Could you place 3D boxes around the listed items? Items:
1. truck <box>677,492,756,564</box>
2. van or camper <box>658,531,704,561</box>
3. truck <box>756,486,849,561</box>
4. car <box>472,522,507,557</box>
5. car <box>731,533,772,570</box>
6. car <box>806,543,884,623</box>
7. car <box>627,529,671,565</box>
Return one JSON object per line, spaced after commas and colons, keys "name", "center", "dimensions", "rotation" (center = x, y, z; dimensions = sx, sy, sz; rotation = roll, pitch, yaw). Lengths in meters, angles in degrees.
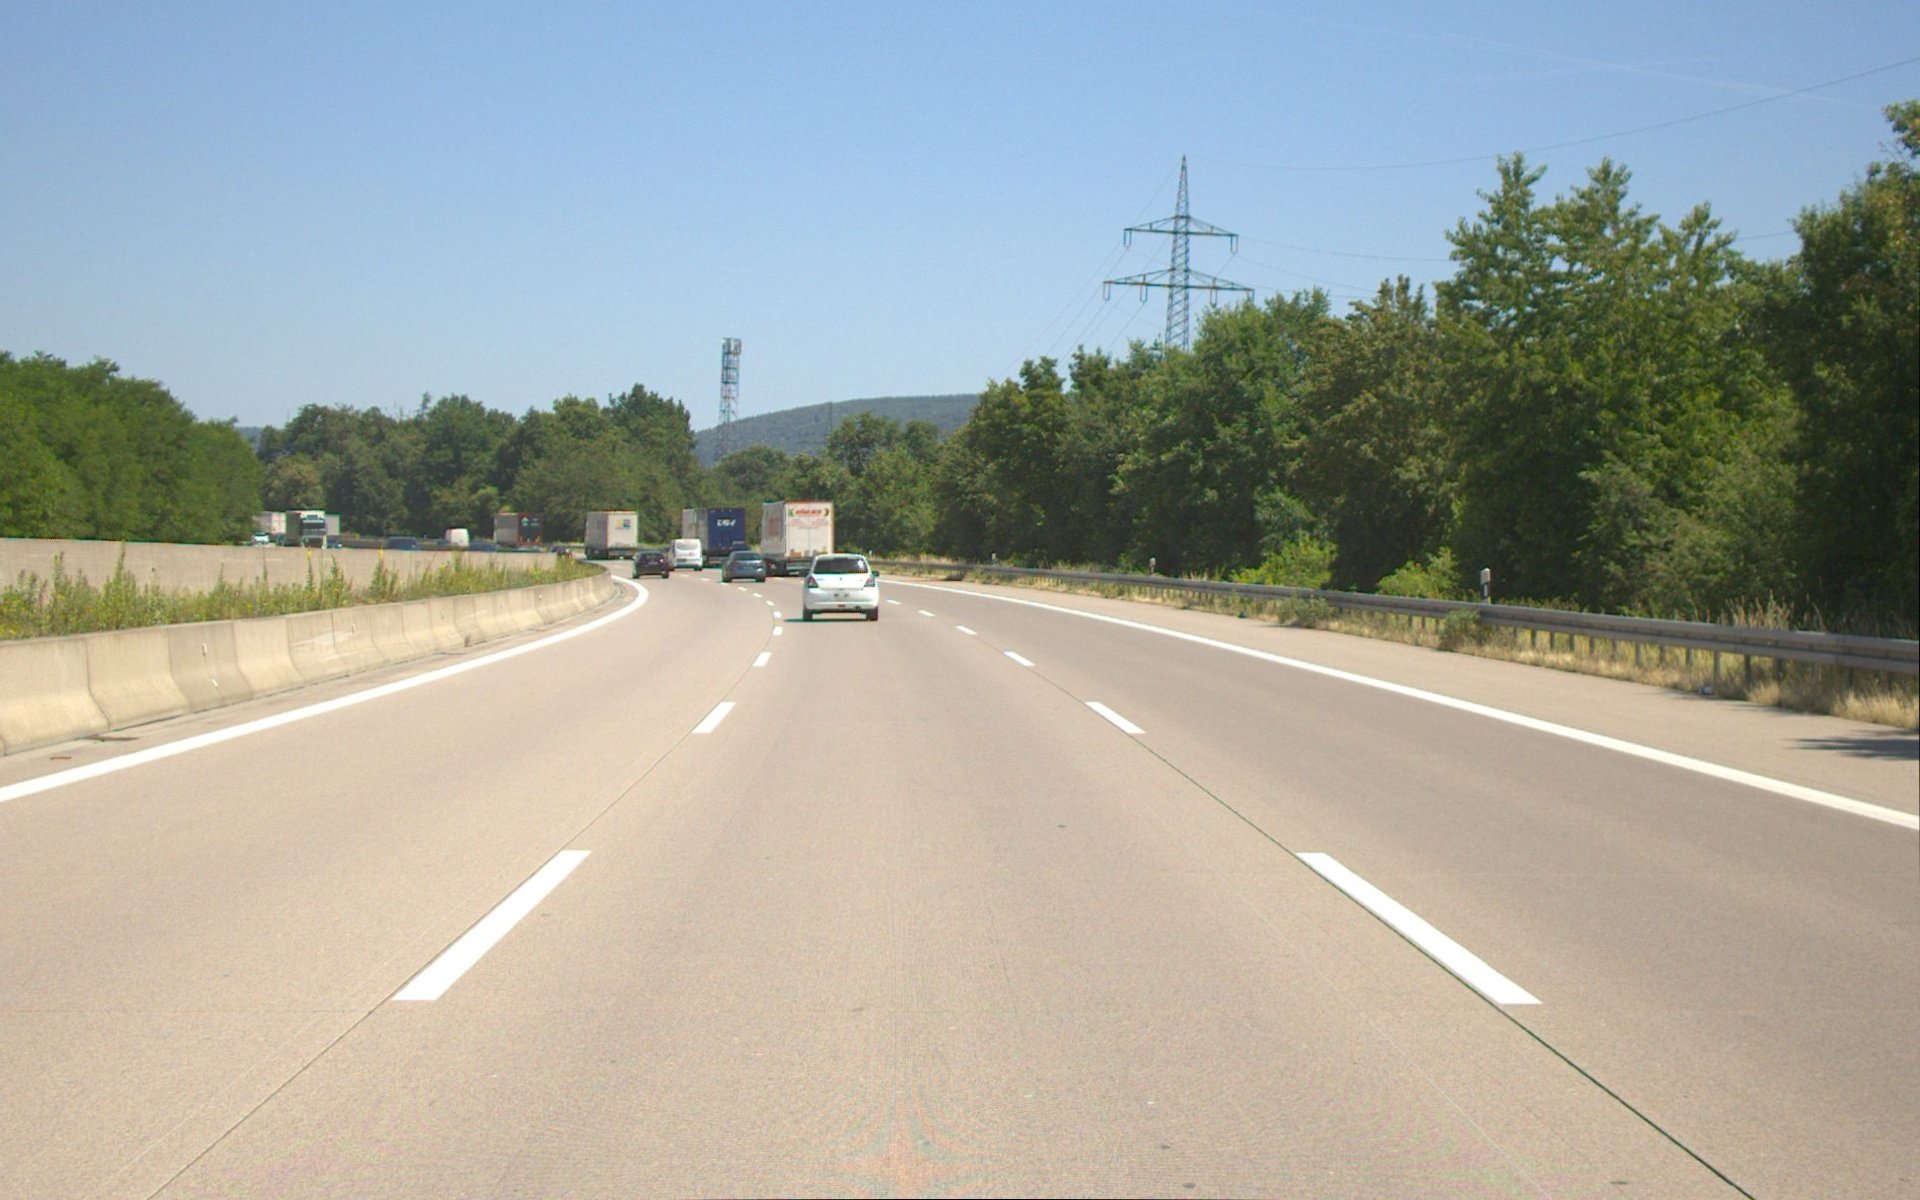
{"name": "truck", "center": [-16.760, -4.904, 235.341], "dimensions": [3.906, 4.725, 14.054], "rotation": [-1, 1, -10]}
{"name": "van or camper", "center": [-17.475, -3.380, 215.202], "dimensions": [1.867, 1.831, 4.001], "rotation": [-1, 1, -20]}
{"name": "truck", "center": [-8.602, -4.107, 186.035], "dimensions": [3.819, 3.876, 14.156], "rotation": [-1, 1, -7]}
{"name": "car", "center": [-26.750, -3.447, 195.517], "dimensions": [1.659, 1.915, 4.007], "rotation": [1, 1, -3]}
{"name": "car", "center": [-9.824, -2.296, 161.555], "dimensions": [1.610, 1.719, 3.574], "rotation": [-1, 1, -8]}
{"name": "car", "center": [-2.624, -0.412, 78.474], "dimensions": [1.641, 1.656, 3.360], "rotation": [4, 1, -2]}
{"name": "car", "center": [-16.520, -2.803, 182.332], "dimensions": [2.021, 1.695, 4.001], "rotation": [5, 1, -8]}
